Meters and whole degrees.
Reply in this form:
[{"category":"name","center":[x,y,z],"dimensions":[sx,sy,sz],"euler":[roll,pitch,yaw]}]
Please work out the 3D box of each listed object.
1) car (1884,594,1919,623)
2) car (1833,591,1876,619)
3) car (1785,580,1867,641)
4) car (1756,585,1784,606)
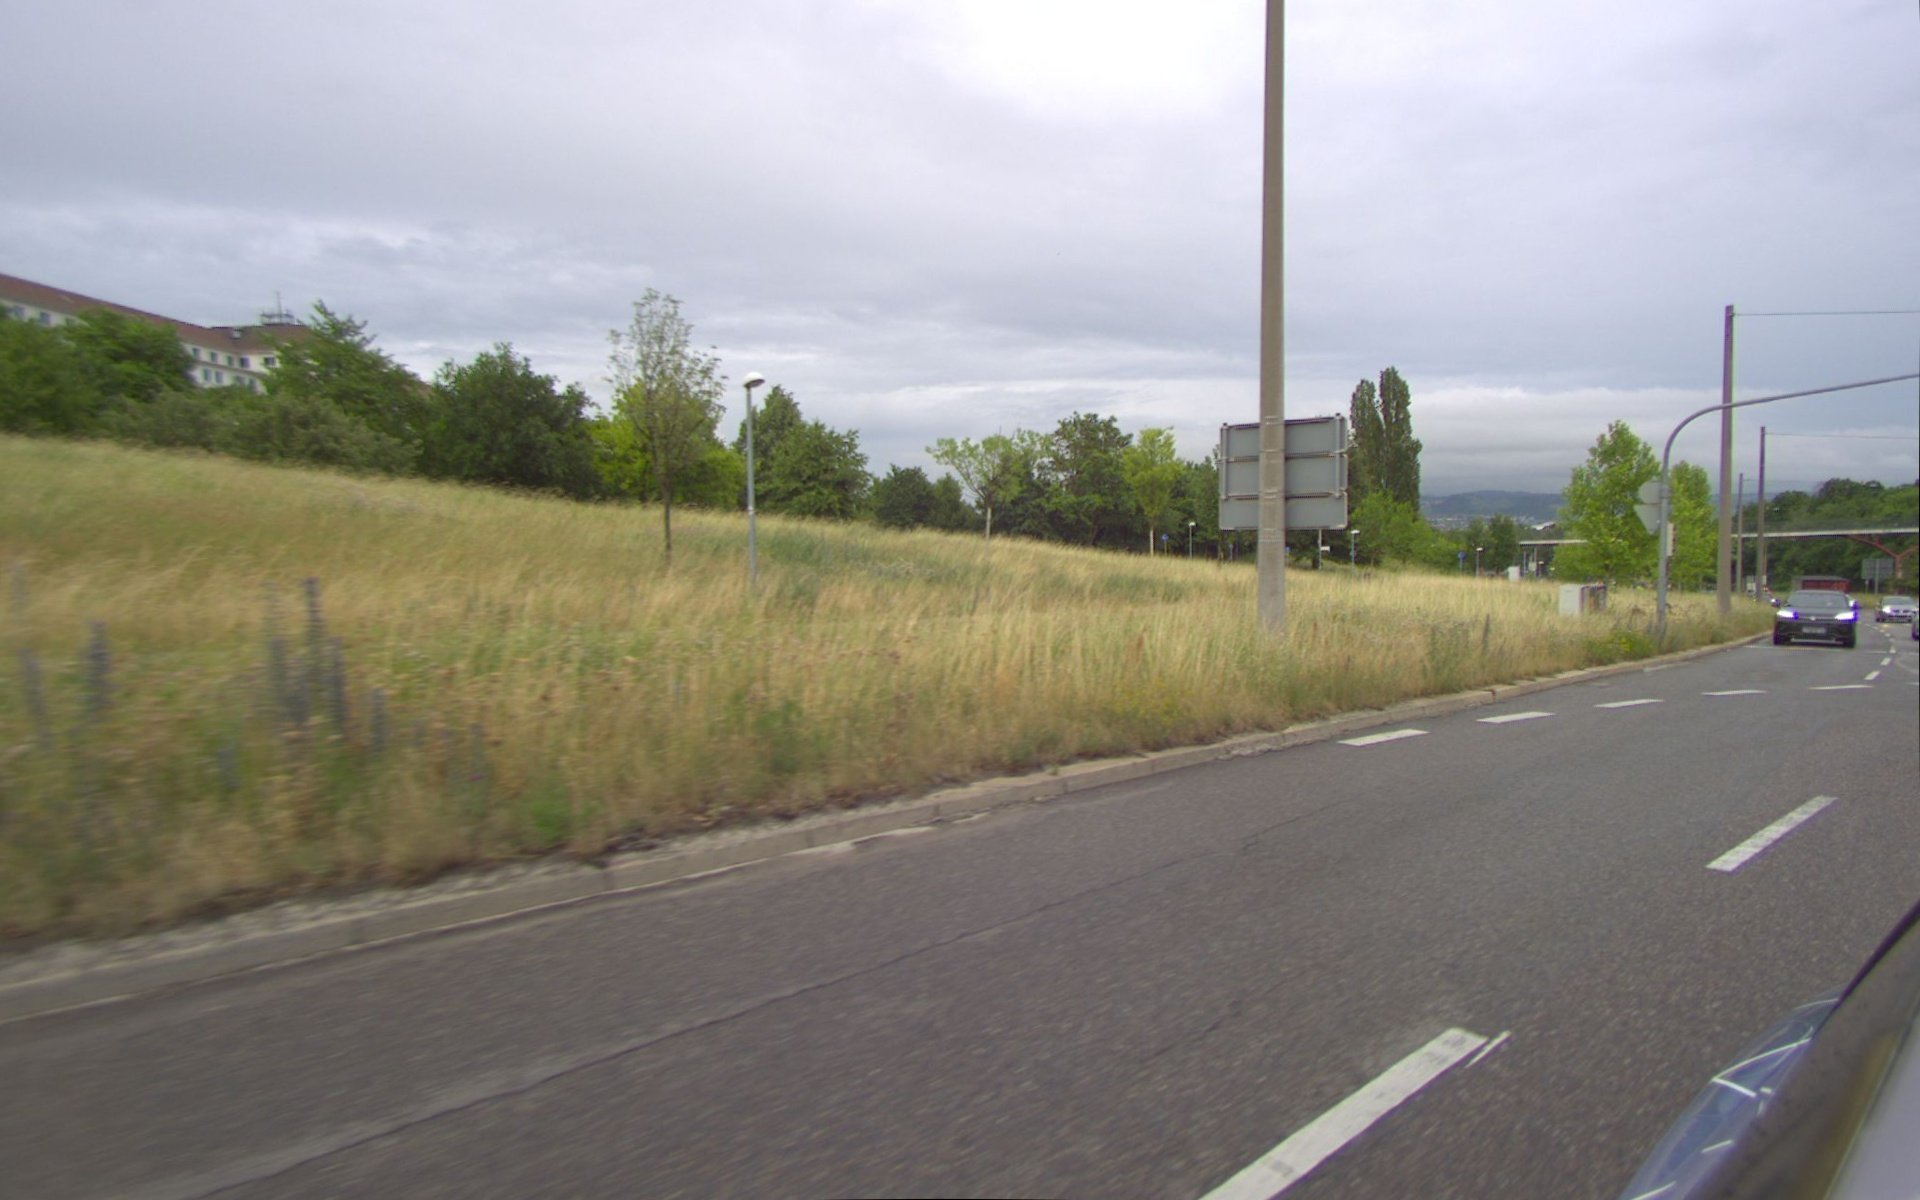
[{"category":"car","center":[52.827,0.470,56.137],"dimensions":[1.861,1.504,3.948],"euler":[2,2,36]},{"category":"car","center":[67.194,0.359,76.070],"dimensions":[1.825,1.972,3.954],"euler":[1,1,33]},{"category":"car","center":[25.849,0.268,30.174],"dimensions":[1.715,1.663,3.828],"euler":[0,1,43]},{"category":"car","center":[84.117,-0.452,105.079],"dimensions":[1.988,2.038,3.949],"euler":[2,2,36]}]
